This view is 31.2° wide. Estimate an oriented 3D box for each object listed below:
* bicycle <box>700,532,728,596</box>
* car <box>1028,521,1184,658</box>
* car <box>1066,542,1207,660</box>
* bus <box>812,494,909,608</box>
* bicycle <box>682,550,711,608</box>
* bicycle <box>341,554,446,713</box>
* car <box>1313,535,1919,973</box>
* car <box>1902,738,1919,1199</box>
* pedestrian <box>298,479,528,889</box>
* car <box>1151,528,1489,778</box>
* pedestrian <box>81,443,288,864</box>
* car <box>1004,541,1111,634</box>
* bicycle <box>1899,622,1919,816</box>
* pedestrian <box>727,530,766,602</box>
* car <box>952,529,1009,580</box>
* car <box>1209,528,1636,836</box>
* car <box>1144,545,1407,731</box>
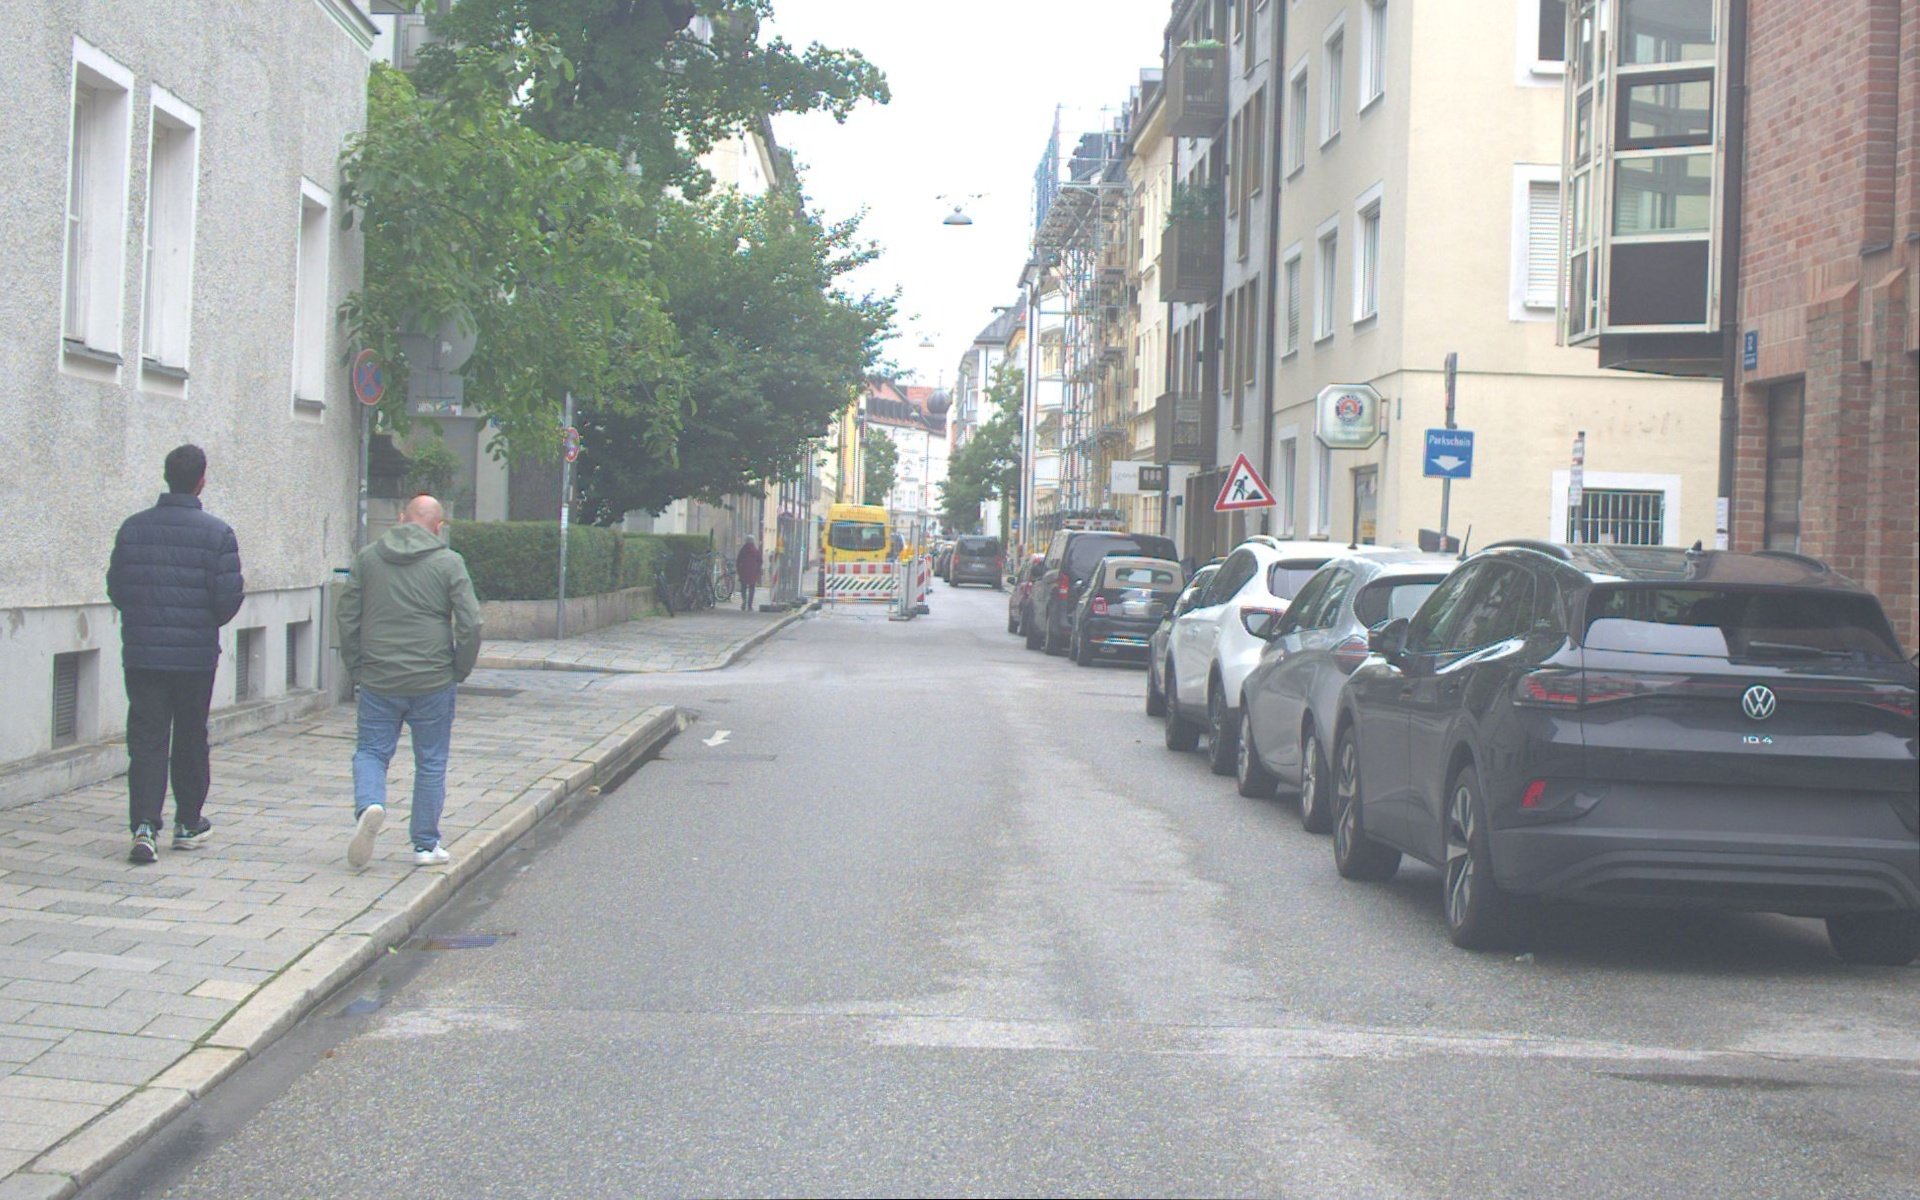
[{"bbox_3d":[-5.553,-0.809,77.752,0.514,1.413,1.934,1,0,-1],"label":"bicycle"},{"bbox_3d":[2.129,-0.194,51.246,1.801,1.814,4.001,5,1,-3],"label":"car"},{"bbox_3d":[2.369,-0.017,46.889,1.624,1.482,3.808,2,1,-1],"label":"car"},{"bbox_3d":[-2.772,-1.377,97.041,2.592,3.091,6.306,1,1,-1],"label":"bus"},{"bbox_3d":[-4.975,-0.404,64.955,0.446,1.069,2.468,1,1,-2],"label":"bicycle"},{"bbox_3d":[-4.220,0.230,25.544,0.473,1.107,1.761,2,1,-18],"label":"bicycle"},{"bbox_3d":[2.819,0.530,14.768,1.885,1.550,4.392,2,1,-3],"label":"car"},{"bbox_3d":[2.987,0.828,4.924,1.836,1.412,4.601,2,1,-2],"label":"car"},{"bbox_3d":[-2.322,0.343,14.689,0.753,1.653,0.906,4,0,-1],"label":"pedestrian"},{"bbox_3d":[2.503,0.314,24.900,1.748,1.624,4.197,1,1,-3],"label":"car"},{"bbox_3d":[-3.290,0.216,14.636,0.612,1.707,0.823,4,0,-1],"label":"pedestrian"},{"bbox_3d":[1.755,-0.255,63.127,1.635,1.509,3.829,5,1,-1],"label":"car"},{"bbox_3d":[5.693,0.689,19.000,0.559,1.075,1.472,2,1,0],"label":"bicycle"},{"bbox_3d":[-4.432,-0.707,71.367,0.756,1.486,0.831,1,0,-1],"label":"pedestrian"},{"bbox_3d":[0.761,-1.718,129.037,1.801,1.706,3.827,5,1,-3],"label":"car"},{"bbox_3d":[2.617,0.422,20.326,1.721,1.630,3.882,1,1,-4],"label":"car"},{"bbox_3d":[2.684,0.278,30.060,1.744,1.440,4.001,2,1,-2],"label":"car"}]
